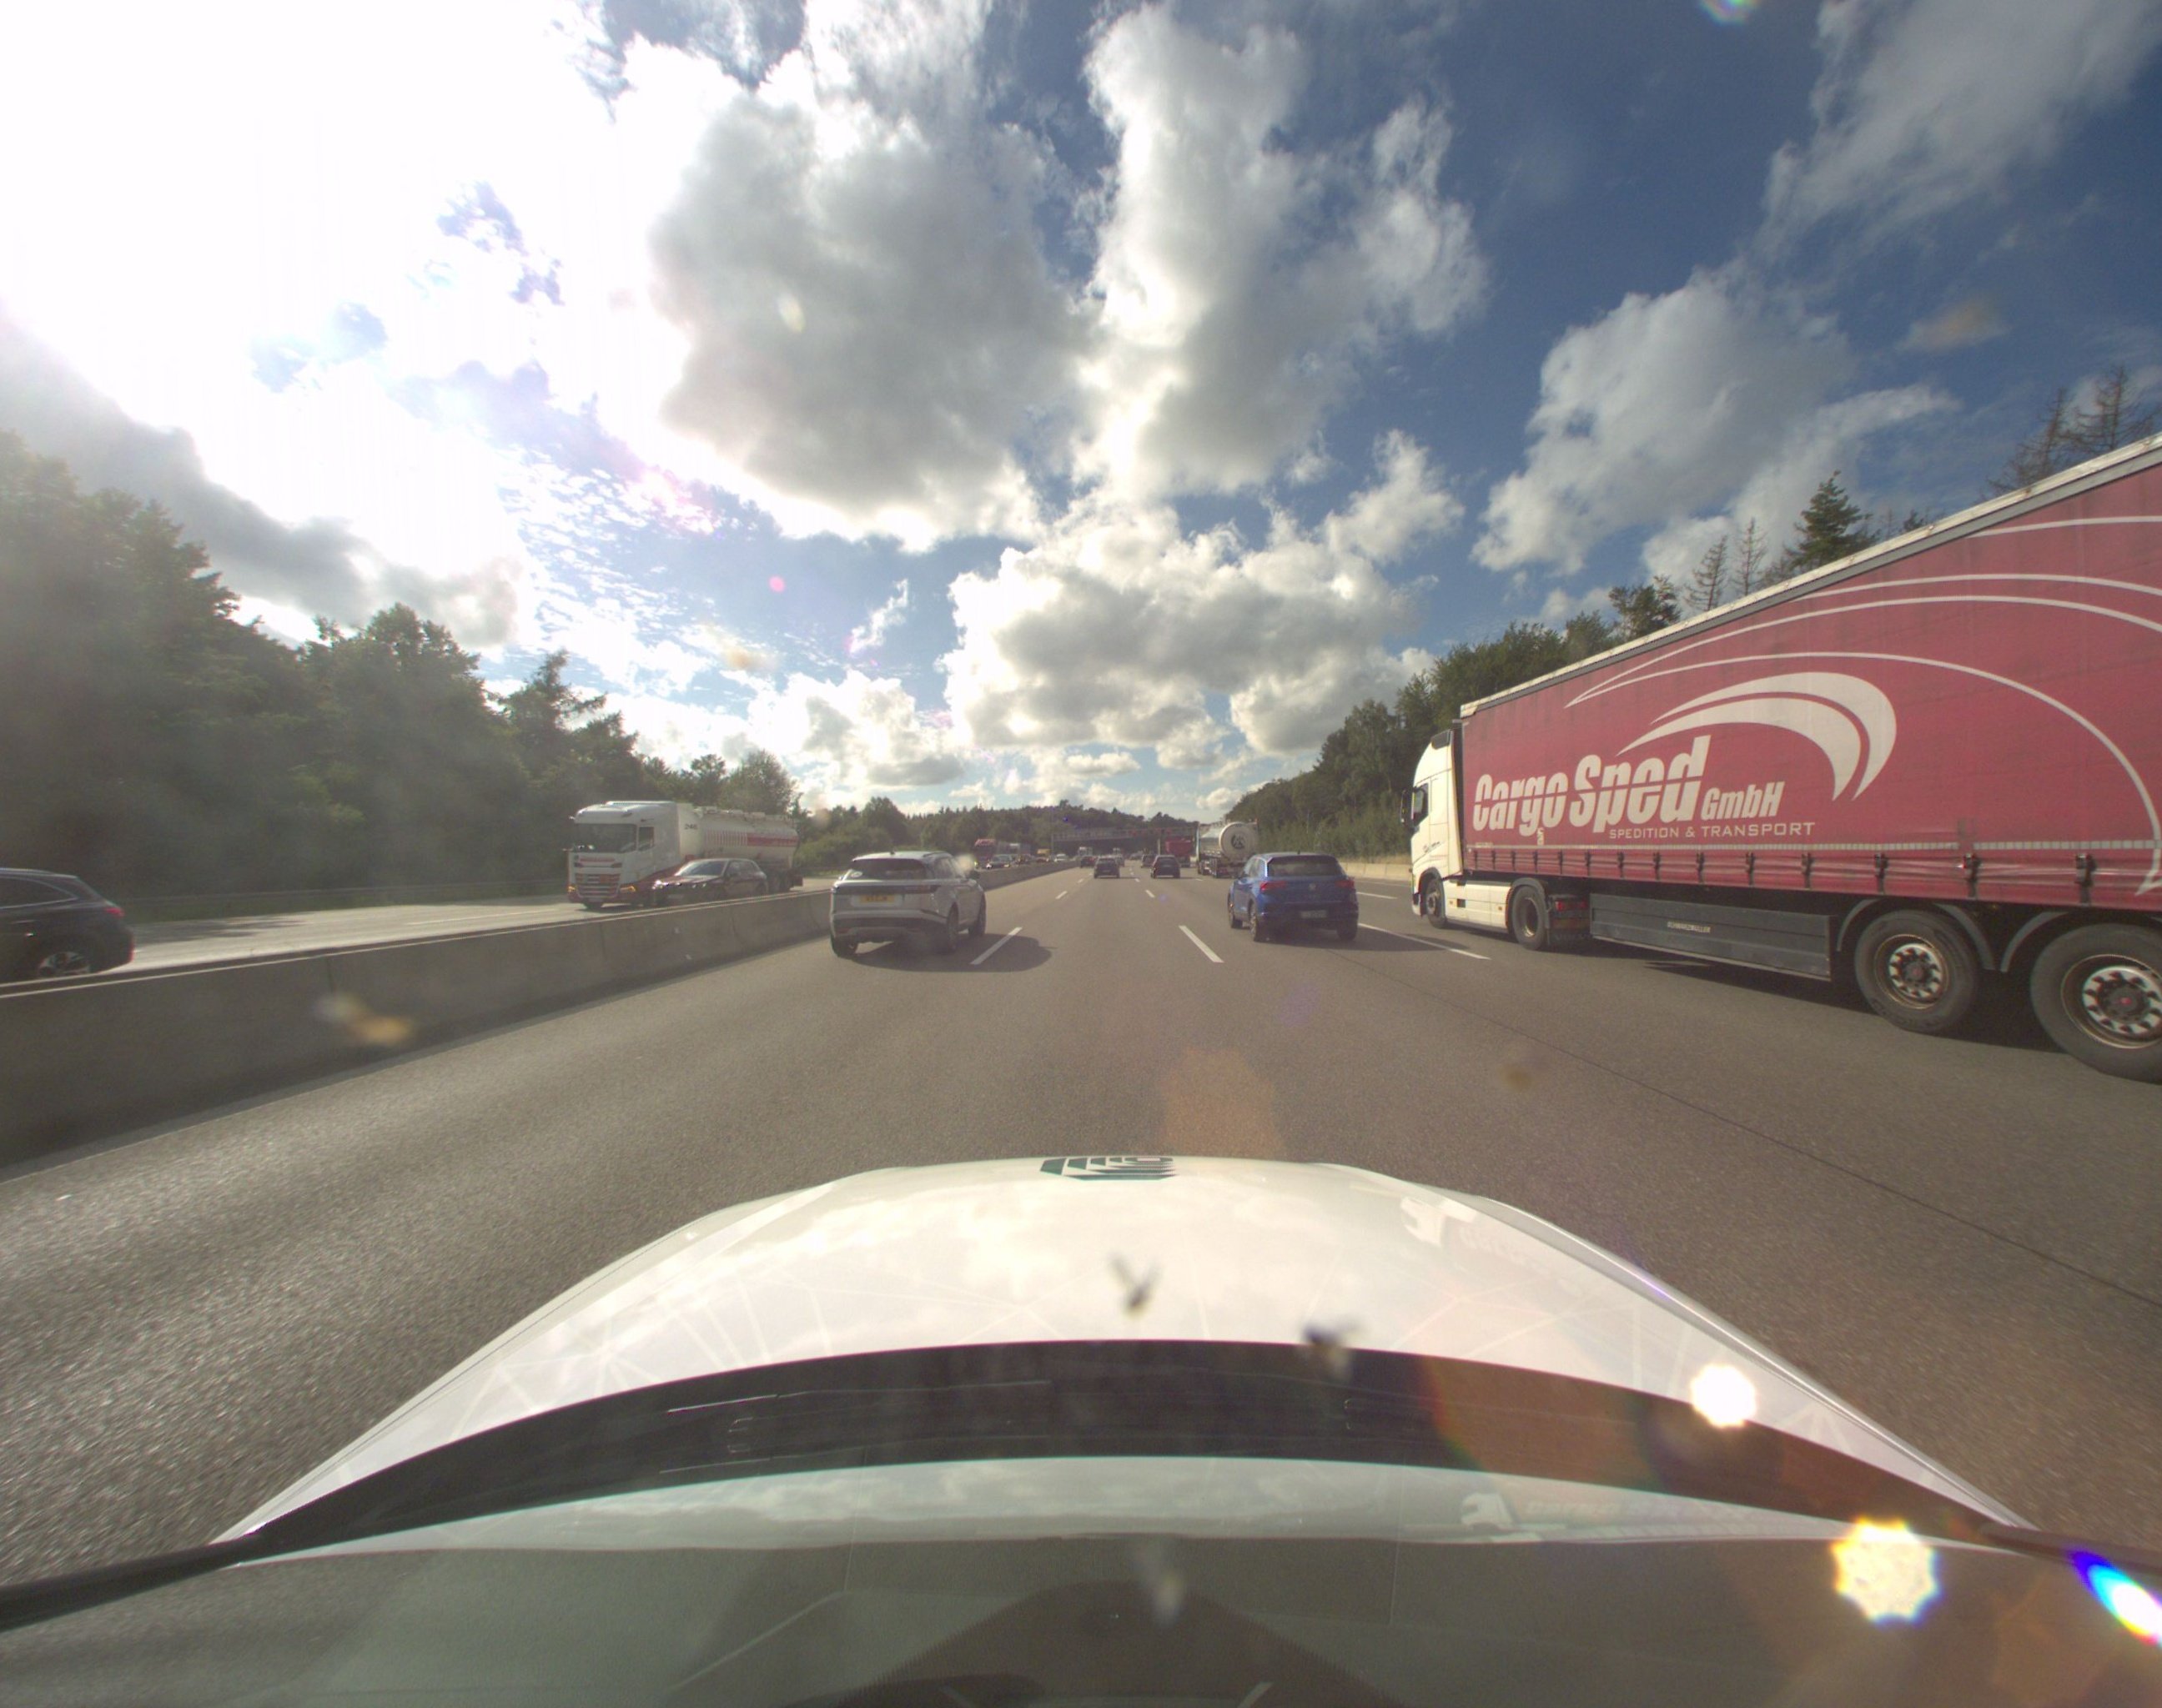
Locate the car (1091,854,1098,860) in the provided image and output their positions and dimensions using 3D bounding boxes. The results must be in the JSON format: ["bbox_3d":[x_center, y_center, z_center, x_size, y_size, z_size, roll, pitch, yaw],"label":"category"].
[{"bbox_3d":[3.840,0.834,230.523,1.921,1.457,4.254,-2,0,2],"label":"car"}]

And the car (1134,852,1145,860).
[{"bbox_3d":[12.375,0.410,172.204,1.935,1.457,4.000,-2,0,1],"label":"car"}]

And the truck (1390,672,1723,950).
[{"bbox_3d":[8.087,-0.634,14.869,2.764,4.045,5.775,-1,0,1],"label":"truck"}]

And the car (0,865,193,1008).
[{"bbox_3d":[-13.436,0.987,9.026,1.853,1.619,4.750,-1,0,2],"label":"car"}]

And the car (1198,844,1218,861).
[{"bbox_3d":[14.903,-0.194,95.829,1.886,1.957,4.102,0,0,2],"label":"car"}]

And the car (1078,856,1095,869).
[{"bbox_3d":[0.720,1.092,102.842,1.934,1.457,4.003,-2,0,3],"label":"car"}]

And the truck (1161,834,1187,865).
[{"bbox_3d":[11.627,-0.608,101.736,2.700,3.718,5.820,-1,0,2],"label":"truck"}]

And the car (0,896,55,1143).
[{"bbox_3d":[-9.459,1.306,4.101,2.163,1.878,4.982,-1,0,1],"label":"car"}]

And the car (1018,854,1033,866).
[{"bbox_3d":[-9.742,0.996,142.840,1.839,1.940,5.038,-1,0,4],"label":"car"}]

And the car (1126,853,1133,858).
[{"bbox_3d":[14.790,0.478,247.119,1.921,1.457,4.396,-2,0,3],"label":"car"}]

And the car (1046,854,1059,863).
[{"bbox_3d":[-5.396,0.860,154.978,1.835,1.596,4.920,-2,0,5],"label":"car"}]

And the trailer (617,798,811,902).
[{"bbox_3d":[-16.086,-0.154,37.326,2.776,3.945,12.261,-1,0,3],"label":"trailer"}]

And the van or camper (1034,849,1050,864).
[{"bbox_3d":[-7.993,0.488,167.976,2.364,2.891,6.512,-2,0,3],"label":"van or camper"}]

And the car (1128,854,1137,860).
[{"bbox_3d":[13.274,0.708,208.729,2.070,1.457,4.000,-2,0,1],"label":"car"}]

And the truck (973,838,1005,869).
[{"bbox_3d":[-12.214,-0.068,108.369,2.954,3.858,6.771,-1,0,4],"label":"truck"}]

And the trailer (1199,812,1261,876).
[{"bbox_3d":[9.783,-0.603,54.689,2.637,3.767,11.871,-2,0,4],"label":"trailer"}]

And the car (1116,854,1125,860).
[{"bbox_3d":[10.518,0.736,216.585,2.067,1.457,4.004,-2,0,4],"label":"car"}]

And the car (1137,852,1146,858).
[{"bbox_3d":[17.095,0.224,230.387,2.070,1.457,4.000,-2,0,1],"label":"car"}]

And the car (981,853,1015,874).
[{"bbox_3d":[-7.127,0.775,70.363,2.146,1.700,5.353,-1,0,2],"label":"car"}]

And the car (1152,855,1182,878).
[{"bbox_3d":[5.620,0.796,53.648,1.814,1.457,4.004,-1,0,4],"label":"car"}]

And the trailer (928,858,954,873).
[{"bbox_3d":[-13.655,1.135,79.849,1.527,1.402,4.184,-1,0,4],"label":"trailer"}]

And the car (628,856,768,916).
[{"bbox_3d":[-12.066,0.929,26.106,1.848,1.670,5.213,-1,0,2],"label":"car"}]

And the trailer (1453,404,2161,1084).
[{"bbox_3d":[7.908,-0.670,7.784,2.763,4.045,13.718,-1,0,2],"label":"trailer"}]

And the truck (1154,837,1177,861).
[{"bbox_3d":[14.031,-0.766,136.150,3.107,3.935,10.413,-1,-1,1],"label":"truck"}]

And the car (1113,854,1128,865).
[{"bbox_3d":[5.216,0.699,106.927,1.814,1.457,4.004,-1,0,3],"label":"car"}]

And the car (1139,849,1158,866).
[{"bbox_3d":[7.932,0.404,95.926,1.887,1.857,4.101,0,0,1],"label":"car"}]

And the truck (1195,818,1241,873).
[{"bbox_3d":[10.136,-0.630,60.714,2.637,3.823,6.088,-2,0,4],"label":"truck"}]

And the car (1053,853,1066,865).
[{"bbox_3d":[-3.508,0.842,134.633,1.842,1.878,4.617,-2,0,1],"label":"car"}]

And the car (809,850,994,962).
[{"bbox_3d":[-2.921,0.762,14.607,1.999,1.616,5.302,-1,0,1],"label":"car"}]

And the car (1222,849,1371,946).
[{"bbox_3d":[3.880,0.711,15.416,1.766,1.530,4.460,-1,0,2],"label":"car"}]

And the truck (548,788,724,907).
[{"bbox_3d":[-16.412,-0.214,30.658,2.776,3.945,6.449,-1,0,3],"label":"truck"}]

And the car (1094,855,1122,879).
[{"bbox_3d":[1.858,0.877,55.744,1.815,1.546,4.002,-1,0,2],"label":"car"}]

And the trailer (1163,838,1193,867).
[{"bbox_3d":[11.482,-0.249,97.013,2.700,3.231,9.736,-1,0,2],"label":"trailer"}]

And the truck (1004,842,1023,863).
[{"bbox_3d":[-13.057,-0.275,158.099,2.806,4.094,6.069,-1,0,4],"label":"truck"}]

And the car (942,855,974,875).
[{"bbox_3d":[-10.901,0.977,72.418,1.986,1.664,4.688,-1,0,1],"label":"car"}]
